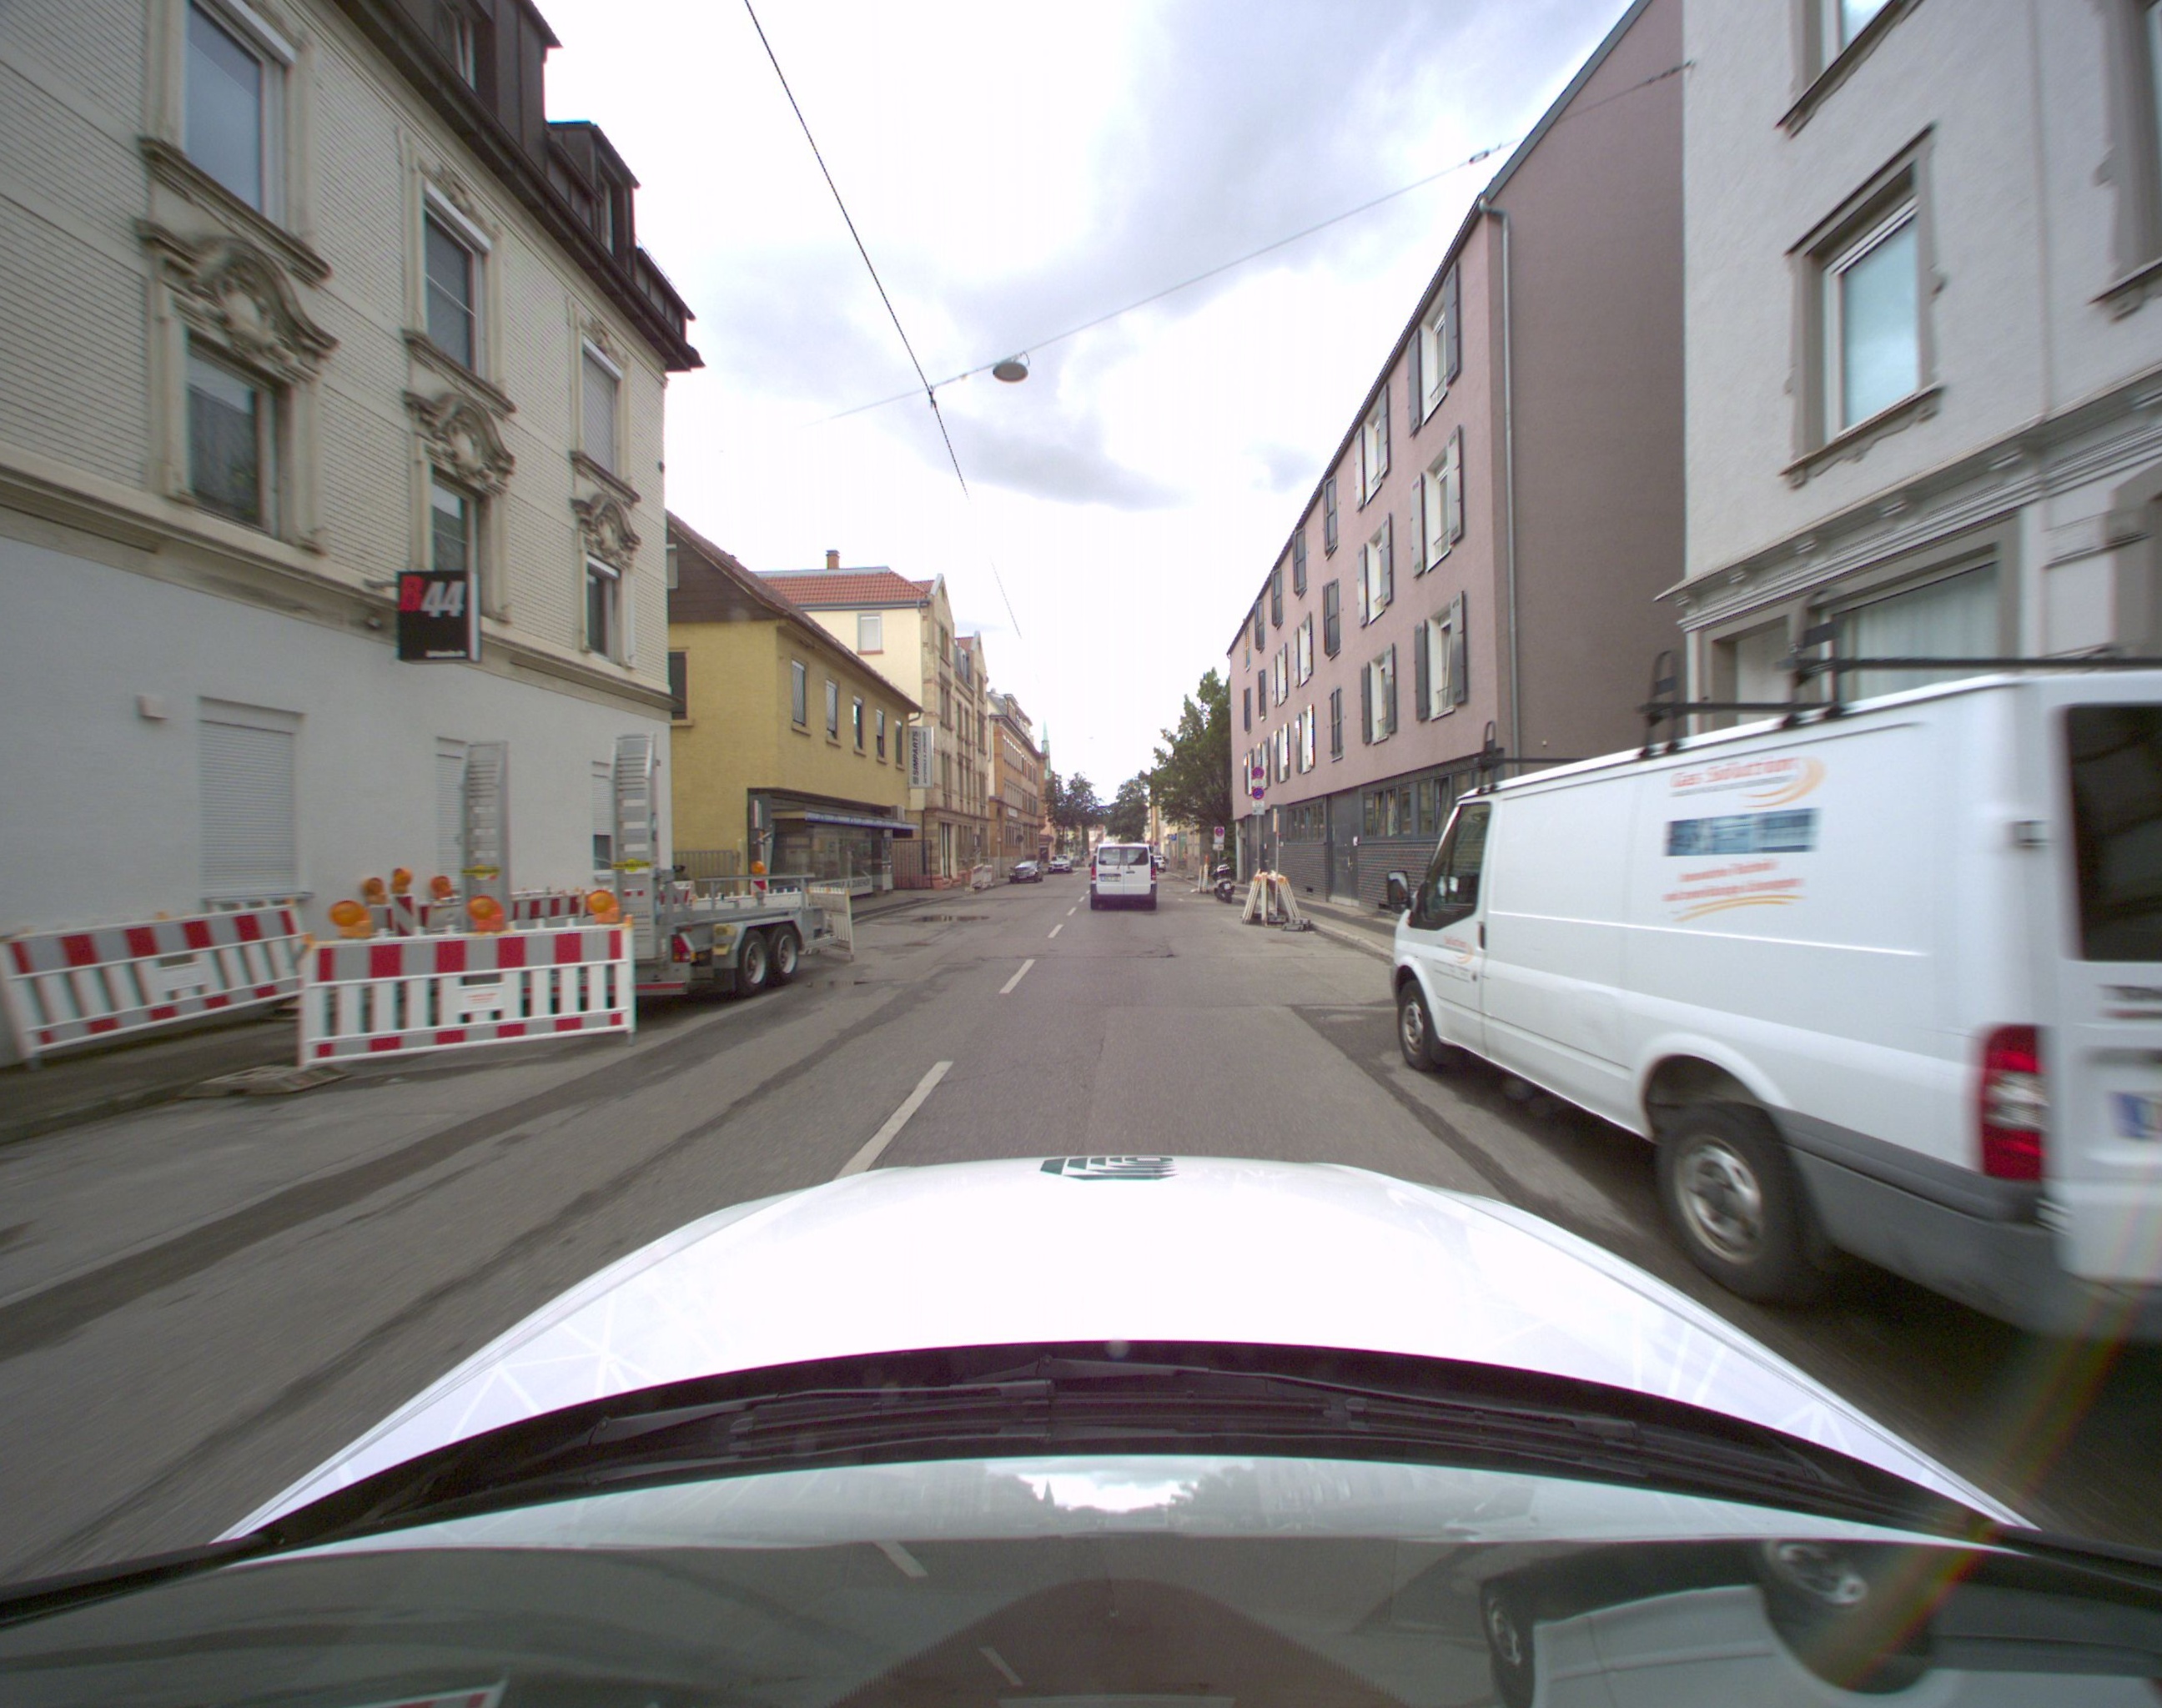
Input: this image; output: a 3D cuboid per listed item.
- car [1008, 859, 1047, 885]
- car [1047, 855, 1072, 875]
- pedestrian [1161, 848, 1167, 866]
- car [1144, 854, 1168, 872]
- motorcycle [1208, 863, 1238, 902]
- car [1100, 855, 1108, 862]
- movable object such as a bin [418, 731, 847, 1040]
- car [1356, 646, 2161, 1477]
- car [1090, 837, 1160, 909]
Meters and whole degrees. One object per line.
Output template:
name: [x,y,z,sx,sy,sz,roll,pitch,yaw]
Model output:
car: [-3.287,1.089,50.610,1.986,1.442,4.002,-2,0,2]
car: [-1.912,0.967,75.158,1.986,1.741,4.002,2,0,2]
pedestrian: [9.102,0.342,89.279,0.620,2.013,0.909,2,0,7]
car: [6.872,0.794,74.974,1.986,1.485,4.002,2,0,2]
motorcycle: [4.681,0.912,26.980,0.641,1.246,2.268,0,0,1]
car: [5.636,1.160,197.595,1.746,1.673,3.672,-1,0,3]
movable object such as a bin: [-4.929,0.301,10.025,2.527,2.825,4.541,-3,0,2]
car: [3.285,0.503,4.414,2.120,2.005,4.929,0,0,3]
car: [1.303,0.531,24.407,1.884,1.929,4.648,0,0,2]
